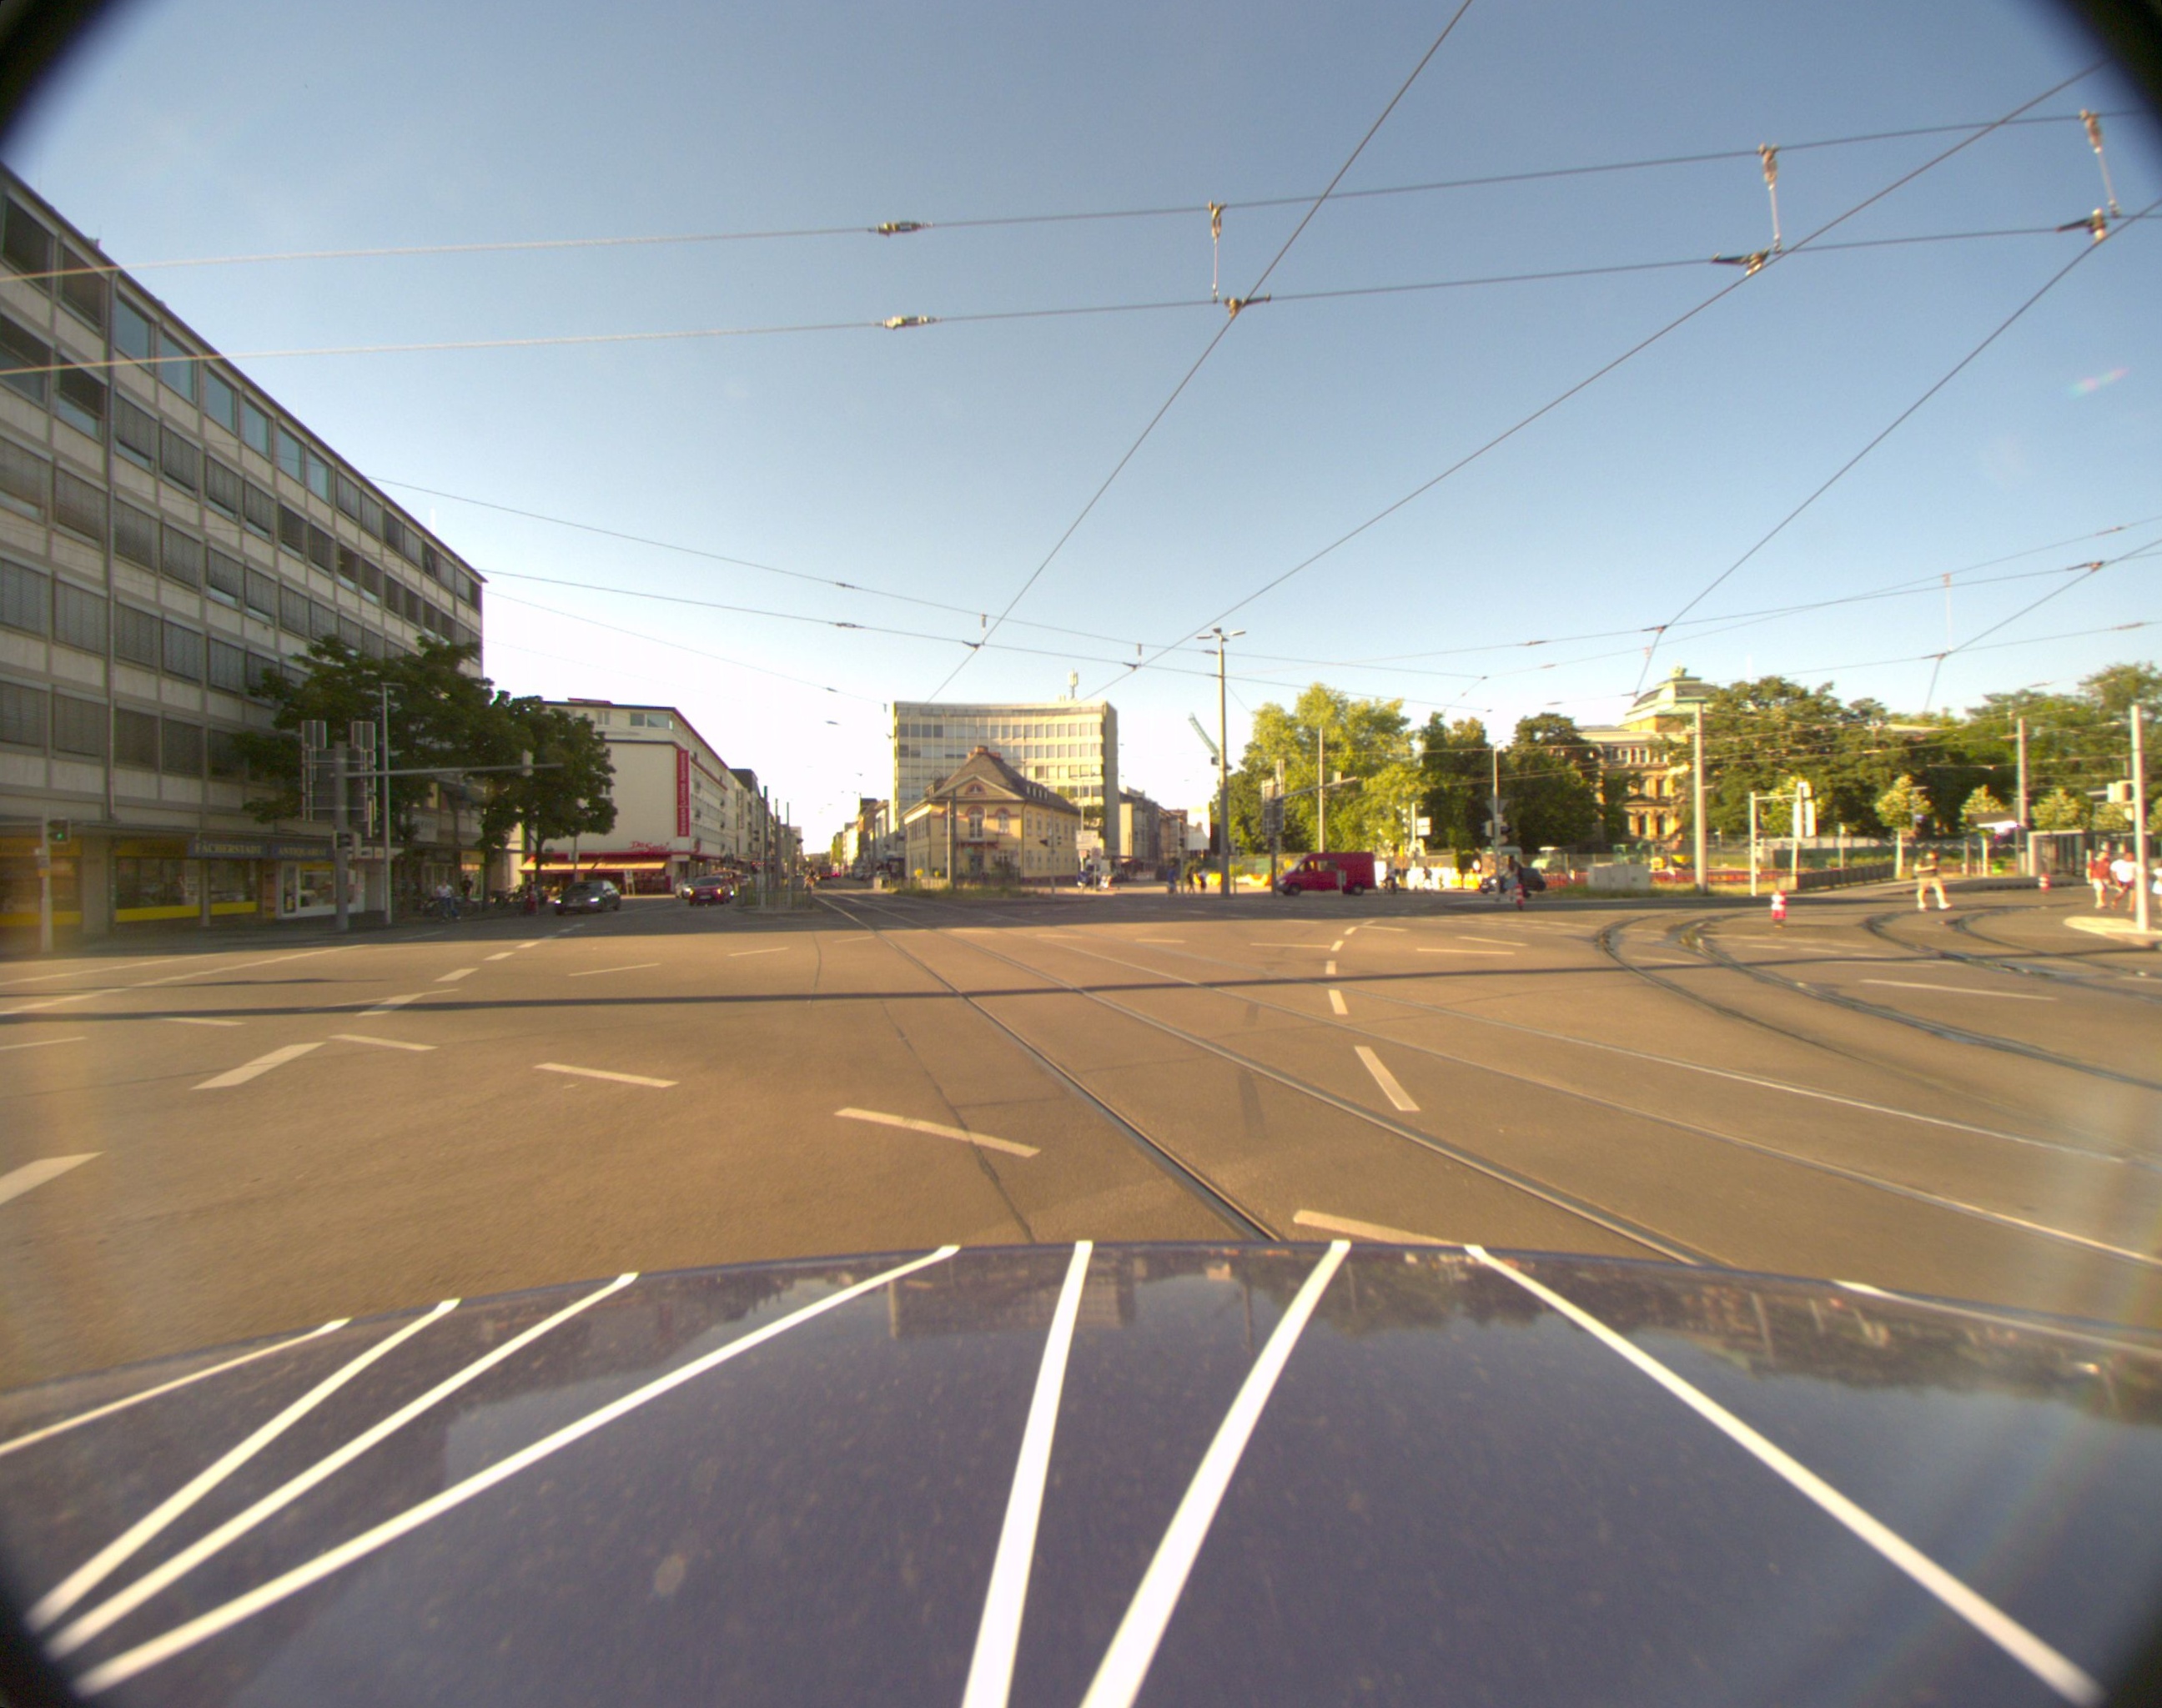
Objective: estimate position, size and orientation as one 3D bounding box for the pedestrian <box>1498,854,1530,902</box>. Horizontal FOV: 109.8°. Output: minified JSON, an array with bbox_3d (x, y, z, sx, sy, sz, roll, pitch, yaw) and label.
[{"bbox_3d":[17.101,0.950,30.020,0.898,1.791,0.789,-5,1,24],"label":"pedestrian"}]

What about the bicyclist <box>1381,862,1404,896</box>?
[{"bbox_3d":[16.631,1.346,40.556,1.062,1.757,0.542,-1,-2,-29],"label":"bicyclist"}]

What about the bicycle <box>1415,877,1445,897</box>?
[{"bbox_3d":[18.943,1.784,41.225,1.696,0.995,0.542,-1,-2,-29],"label":"bicycle"}]

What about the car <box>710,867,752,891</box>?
[{"bbox_3d":[-28.373,2.065,61.738,1.904,1.831,4.624,-1,-2,-10],"label":"car"}]

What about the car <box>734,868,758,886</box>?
[{"bbox_3d":[-39.459,2.685,89.600,2.001,2.001,4.867,-1,-2,-17],"label":"car"}]

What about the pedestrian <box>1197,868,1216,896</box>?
[{"bbox_3d":[7.967,1.806,48.306,0.761,1.751,1.006,-1,-2,-17],"label":"pedestrian"}]

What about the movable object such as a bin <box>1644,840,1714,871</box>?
[{"bbox_3d":[57.531,0.146,73.103,5.869,2.799,1.998,-1,-2,-14],"label":"movable object such as a bin"}]

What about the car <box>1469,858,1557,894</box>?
[{"bbox_3d":[25.538,1.310,44.969,3.997,2.001,2.000,-2,-2,-1],"label":"car"}]

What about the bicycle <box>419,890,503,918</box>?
[{"bbox_3d":[-26.340,2.130,32.344,2.645,1.136,0.750,2,-3,-30],"label":"bicycle"}]

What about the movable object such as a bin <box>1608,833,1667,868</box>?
[{"bbox_3d":[56.167,-0.336,76.638,5.379,3.309,1.997,-1,-2,-20],"label":"movable object such as a bin"}]

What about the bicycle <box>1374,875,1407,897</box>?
[{"bbox_3d":[16.470,1.681,40.439,1.811,1.094,0.542,-1,-2,-29],"label":"bicycle"}]

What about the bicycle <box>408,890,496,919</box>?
[{"bbox_3d":[-25.819,2.068,31.266,2.645,1.136,0.750,2,-3,-30],"label":"bicycle"}]

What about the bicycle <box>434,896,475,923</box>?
[{"bbox_3d":[-23.420,2.048,28.423,0.672,0.934,2.027,-1,-2,-25],"label":"bicycle"}]

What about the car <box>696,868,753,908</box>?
[{"bbox_3d":[-15.732,1.486,33.744,1.846,1.608,3.995,-1,-2,-19],"label":"car"}]

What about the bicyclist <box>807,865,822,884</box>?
[{"bbox_3d":[-21.133,1.641,60.181,0.897,1.448,0.724,-2,-1,1],"label":"bicyclist"}]

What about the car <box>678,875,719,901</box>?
[{"bbox_3d":[-25.693,2.282,50.991,1.847,1.608,3.991,-1,-2,-36],"label":"car"}]

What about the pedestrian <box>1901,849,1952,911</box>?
[{"bbox_3d":[25.779,0.799,23.172,0.620,1.852,0.787,-1,-2,-21],"label":"pedestrian"}]

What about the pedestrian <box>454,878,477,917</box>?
[{"bbox_3d":[-32.203,2.274,39.767,0.715,2.001,0.627,-1,-1,-13],"label":"pedestrian"}]

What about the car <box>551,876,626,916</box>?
[{"bbox_3d":[-21.716,1.836,33.658,1.846,1.608,4.076,-1,-2,-19],"label":"car"}]

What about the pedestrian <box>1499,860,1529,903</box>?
[{"bbox_3d":[16.903,1.082,29.643,0.898,1.630,0.790,-3,-2,34],"label":"pedestrian"}]

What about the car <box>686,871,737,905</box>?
[{"bbox_3d":[-18.927,1.731,39.035,1.846,1.608,3.995,-1,-2,-19],"label":"car"}]

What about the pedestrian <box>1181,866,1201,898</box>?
[{"bbox_3d":[5.929,1.499,40.945,0.696,1.672,1.044,-3,-2,28],"label":"pedestrian"}]

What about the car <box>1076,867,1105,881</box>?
[{"bbox_3d":[0.971,2.001,76.602,1.711,1.356,4.202,-2,-2,18],"label":"car"}]

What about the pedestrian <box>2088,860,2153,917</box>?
[{"bbox_3d":[28.578,0.944,20.902,0.786,1.539,0.621,-1,-2,21],"label":"pedestrian"}]

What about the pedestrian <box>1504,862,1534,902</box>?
[{"bbox_3d":[18.342,1.184,31.841,0.620,1.630,0.786,-1,-2,-26],"label":"pedestrian"}]

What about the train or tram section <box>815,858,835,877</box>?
[{"bbox_3d":[-53.931,2.775,160.128,3.718,3.810,13.341,-1,-1,-18],"label":"train or tram section"}]

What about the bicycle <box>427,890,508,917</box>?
[{"bbox_3d":[-26.806,2.176,33.271,2.645,1.136,0.750,2,-3,-30],"label":"bicycle"}]

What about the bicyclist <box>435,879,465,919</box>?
[{"bbox_3d":[-23.269,1.645,28.018,0.672,1.415,0.680,-1,-2,-25],"label":"bicyclist"}]

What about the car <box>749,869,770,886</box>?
[{"bbox_3d":[-41.528,3.043,98.170,2.001,2.001,4.867,-1,-2,-17],"label":"car"}]

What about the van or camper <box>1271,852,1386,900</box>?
[{"bbox_3d":[14.234,1.258,43.947,5.910,2.513,2.001,-2,-2,0],"label":"van or camper"}]

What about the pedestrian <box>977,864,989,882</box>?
[{"bbox_3d":[-9.245,1.769,71.546,0.684,1.632,0.819,-3,-2,30],"label":"pedestrian"}]

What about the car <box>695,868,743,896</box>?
[{"bbox_3d":[-22.365,1.773,46.884,1.848,1.608,3.990,0,-2,-38],"label":"car"}]

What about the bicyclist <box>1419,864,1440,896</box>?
[{"bbox_3d":[18.864,1.404,41.158,0.793,1.735,0.614,-1,-2,-29],"label":"bicyclist"}]

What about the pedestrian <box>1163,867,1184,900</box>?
[{"bbox_3d":[5.034,1.606,41.330,0.696,1.782,1.044,-3,-2,28],"label":"pedestrian"}]

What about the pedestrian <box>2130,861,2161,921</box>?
[{"bbox_3d":[26.793,0.916,18.898,0.636,1.447,0.526,-3,-2,34],"label":"pedestrian"}]

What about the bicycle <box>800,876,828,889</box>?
[{"bbox_3d":[-21.148,2.249,60.164,1.990,0.942,0.724,-2,-2,1],"label":"bicycle"}]

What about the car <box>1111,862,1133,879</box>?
[{"bbox_3d":[4.981,1.994,91.920,1.711,1.968,3.768,-2,-2,18],"label":"car"}]

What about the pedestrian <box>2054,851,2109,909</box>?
[{"bbox_3d":[30.023,0.785,22.812,0.620,1.688,0.787,-1,-2,-21],"label":"pedestrian"}]

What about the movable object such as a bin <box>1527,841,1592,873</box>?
[{"bbox_3d":[41.617,0.248,66.093,5.018,2.667,1.997,-1,-2,-20],"label":"movable object such as a bin"}]

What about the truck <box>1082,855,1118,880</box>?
[{"bbox_3d":[2.128,1.490,82.208,2.296,2.533,5.648,-2,-2,17],"label":"truck"}]
